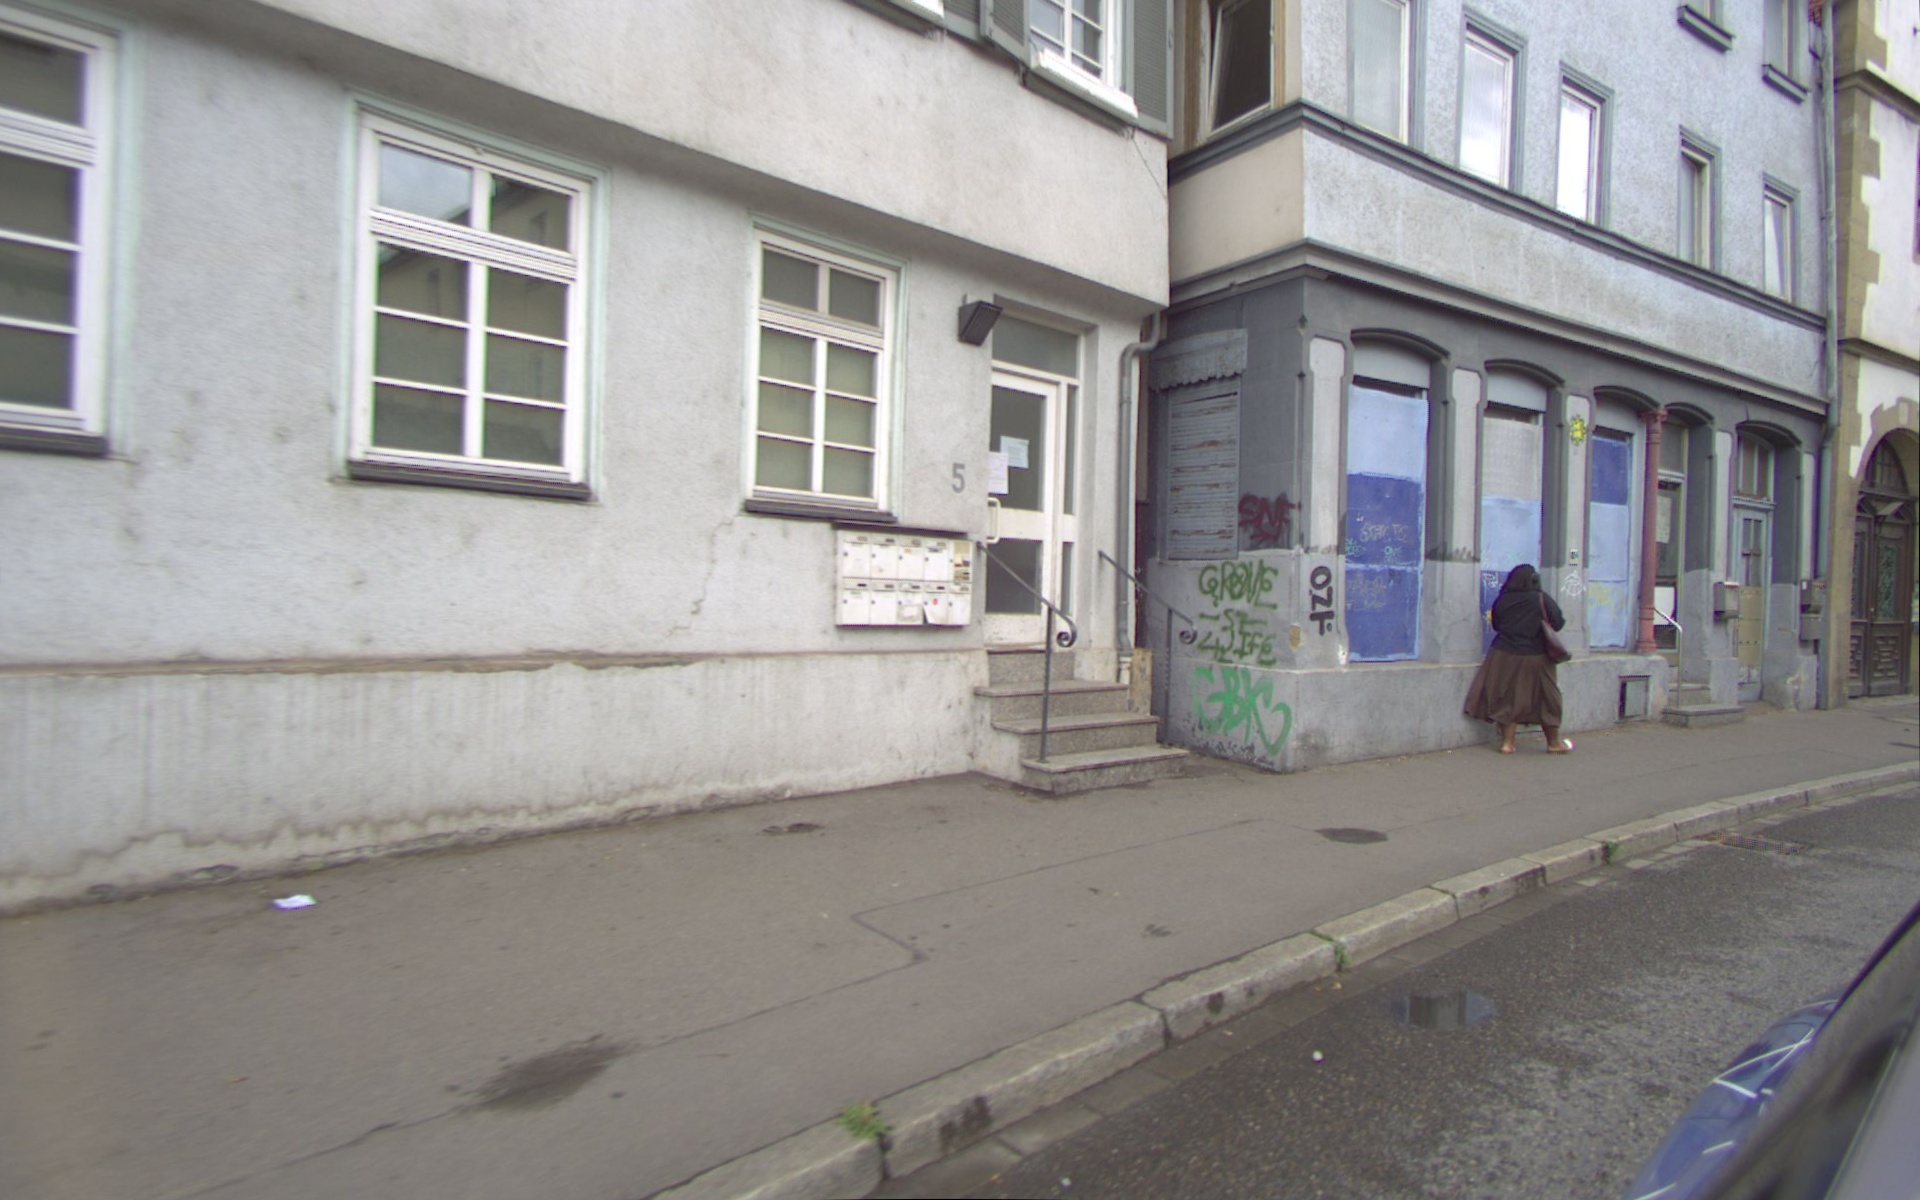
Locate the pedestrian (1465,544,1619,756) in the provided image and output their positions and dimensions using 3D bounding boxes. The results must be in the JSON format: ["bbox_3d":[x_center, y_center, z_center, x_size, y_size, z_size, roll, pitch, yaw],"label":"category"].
[{"bbox_3d":[4.968,0.397,8.651,0.793,1.687,0.758,2,3,-34],"label":"pedestrian"}]
